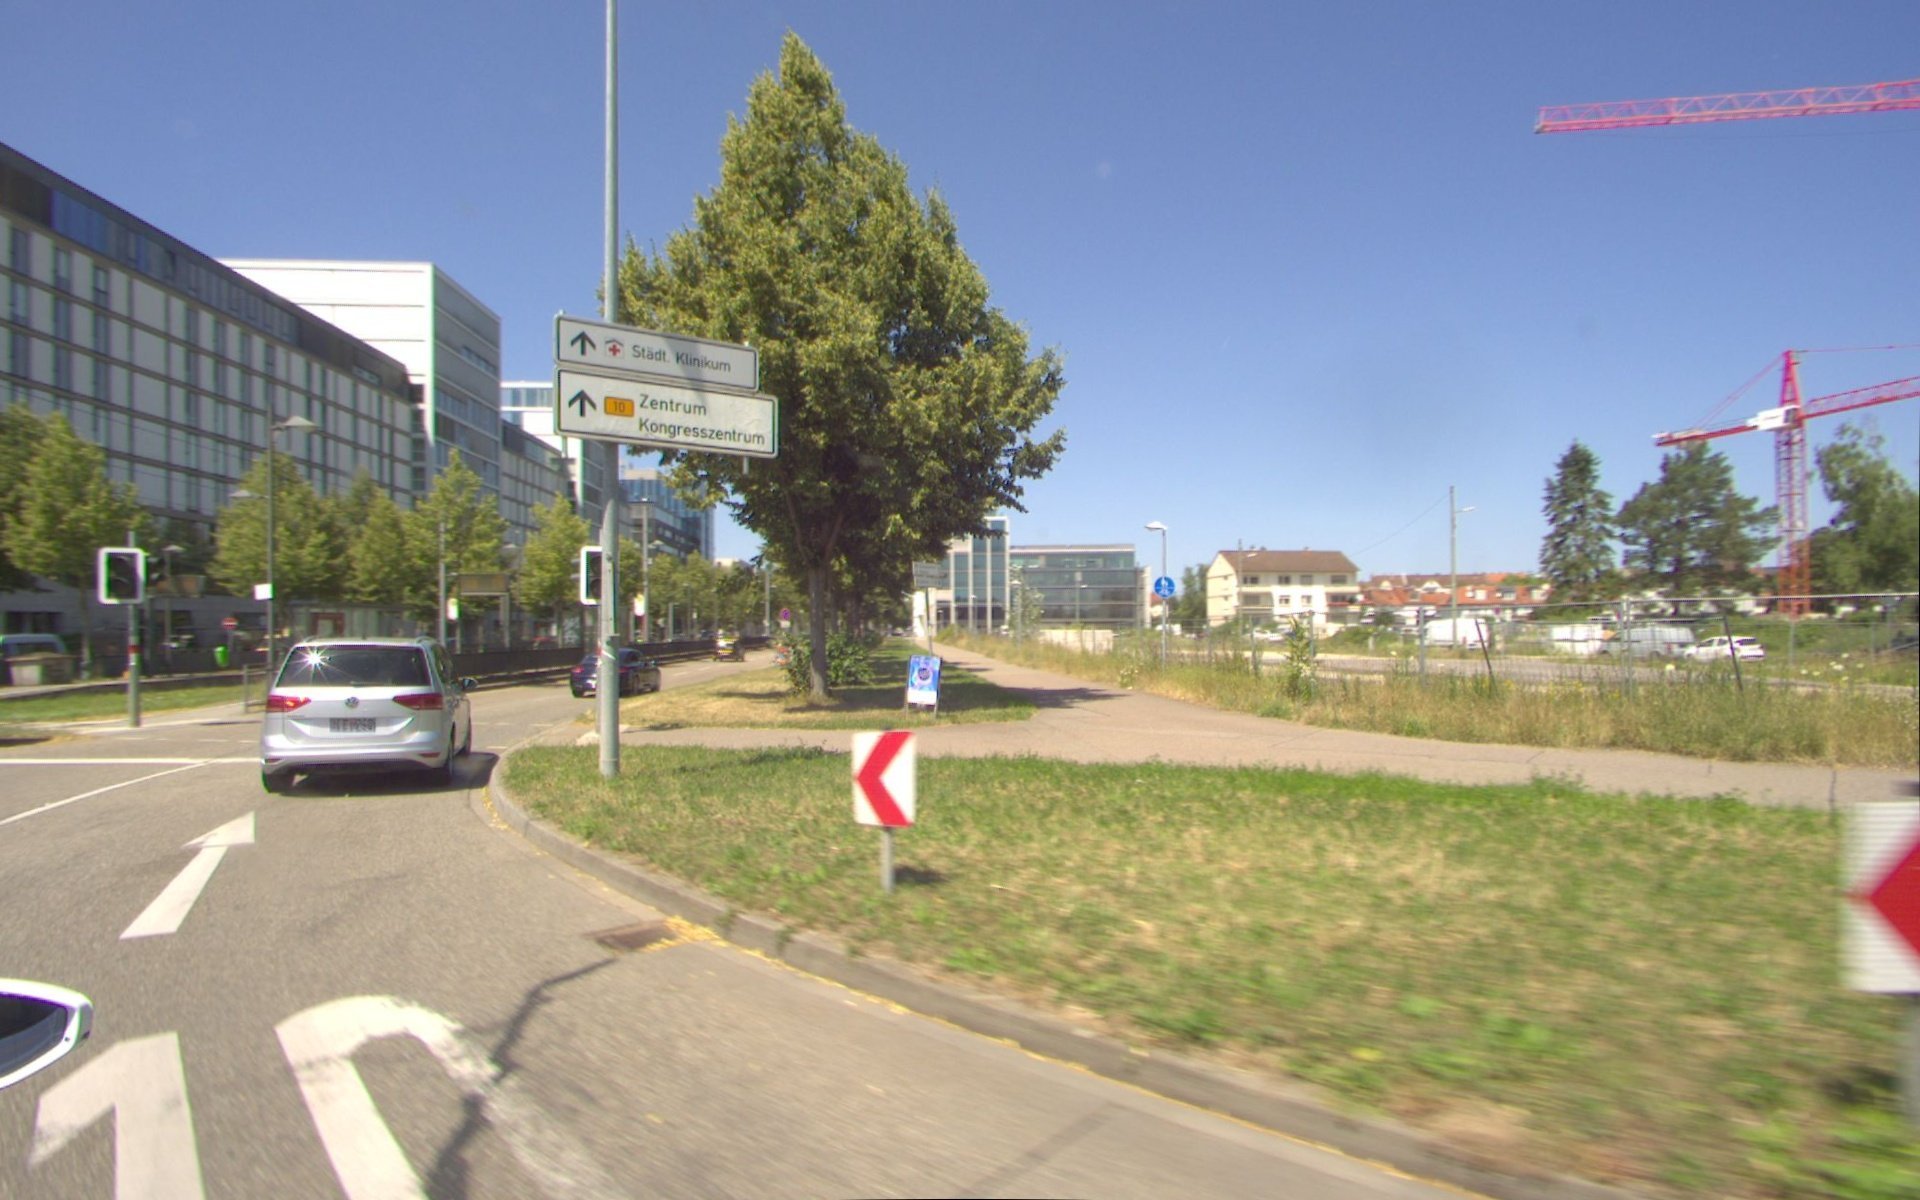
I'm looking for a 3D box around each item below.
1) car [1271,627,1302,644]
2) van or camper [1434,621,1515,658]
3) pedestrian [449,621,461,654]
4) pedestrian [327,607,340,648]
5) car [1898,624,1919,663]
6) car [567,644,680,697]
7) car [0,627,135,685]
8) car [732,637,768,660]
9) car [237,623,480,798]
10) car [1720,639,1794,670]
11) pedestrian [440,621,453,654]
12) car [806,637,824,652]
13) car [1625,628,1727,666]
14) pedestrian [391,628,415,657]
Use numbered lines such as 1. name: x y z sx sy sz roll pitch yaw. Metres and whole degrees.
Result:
1. car: 34.521 3.765 105.926 1.648 1.606 3.624 -1 -3 -7
2. van or camper: 38.163 2.922 74.527 1.893 2.635 7.004 0 -2 -5
3. pedestrian: -27.601 2.033 54.757 0.403 1.774 0.586 0 -1 -6
4. pedestrian: -27.500 1.206 43.981 0.460 1.761 0.475 1 -1 -32
5. car: 41.144 1.815 41.447 1.343 1.634 3.420 0 -2 -3
6. car: -9.937 2.062 29.990 1.822 1.454 4.958 0 -3 -2
7. car: -35.758 2.177 39.525 1.961 2.132 5.545 0 -2 -2
8. car: -13.566 3.152 64.832 1.592 1.469 3.989 0 -3 -2
9. car: -6.939 1.175 12.054 1.777 1.669 4.593 1 -3 -22
10. car: 40.529 2.765 50.961 1.391 1.424 2.791 -2 -1 -4
11. pedestrian: -27.657 2.024 53.937 0.403 1.774 0.586 0 -1 -6
12. car: -16.163 4.988 111.555 1.737 1.647 3.717 0 -2 -4
13. car: 40.040 2.621 56.147 1.751 2.039 4.680 0 -2 -11
14. pedestrian: -27.422 2.088 49.347 0.821 1.431 0.642 0 -1 -4
